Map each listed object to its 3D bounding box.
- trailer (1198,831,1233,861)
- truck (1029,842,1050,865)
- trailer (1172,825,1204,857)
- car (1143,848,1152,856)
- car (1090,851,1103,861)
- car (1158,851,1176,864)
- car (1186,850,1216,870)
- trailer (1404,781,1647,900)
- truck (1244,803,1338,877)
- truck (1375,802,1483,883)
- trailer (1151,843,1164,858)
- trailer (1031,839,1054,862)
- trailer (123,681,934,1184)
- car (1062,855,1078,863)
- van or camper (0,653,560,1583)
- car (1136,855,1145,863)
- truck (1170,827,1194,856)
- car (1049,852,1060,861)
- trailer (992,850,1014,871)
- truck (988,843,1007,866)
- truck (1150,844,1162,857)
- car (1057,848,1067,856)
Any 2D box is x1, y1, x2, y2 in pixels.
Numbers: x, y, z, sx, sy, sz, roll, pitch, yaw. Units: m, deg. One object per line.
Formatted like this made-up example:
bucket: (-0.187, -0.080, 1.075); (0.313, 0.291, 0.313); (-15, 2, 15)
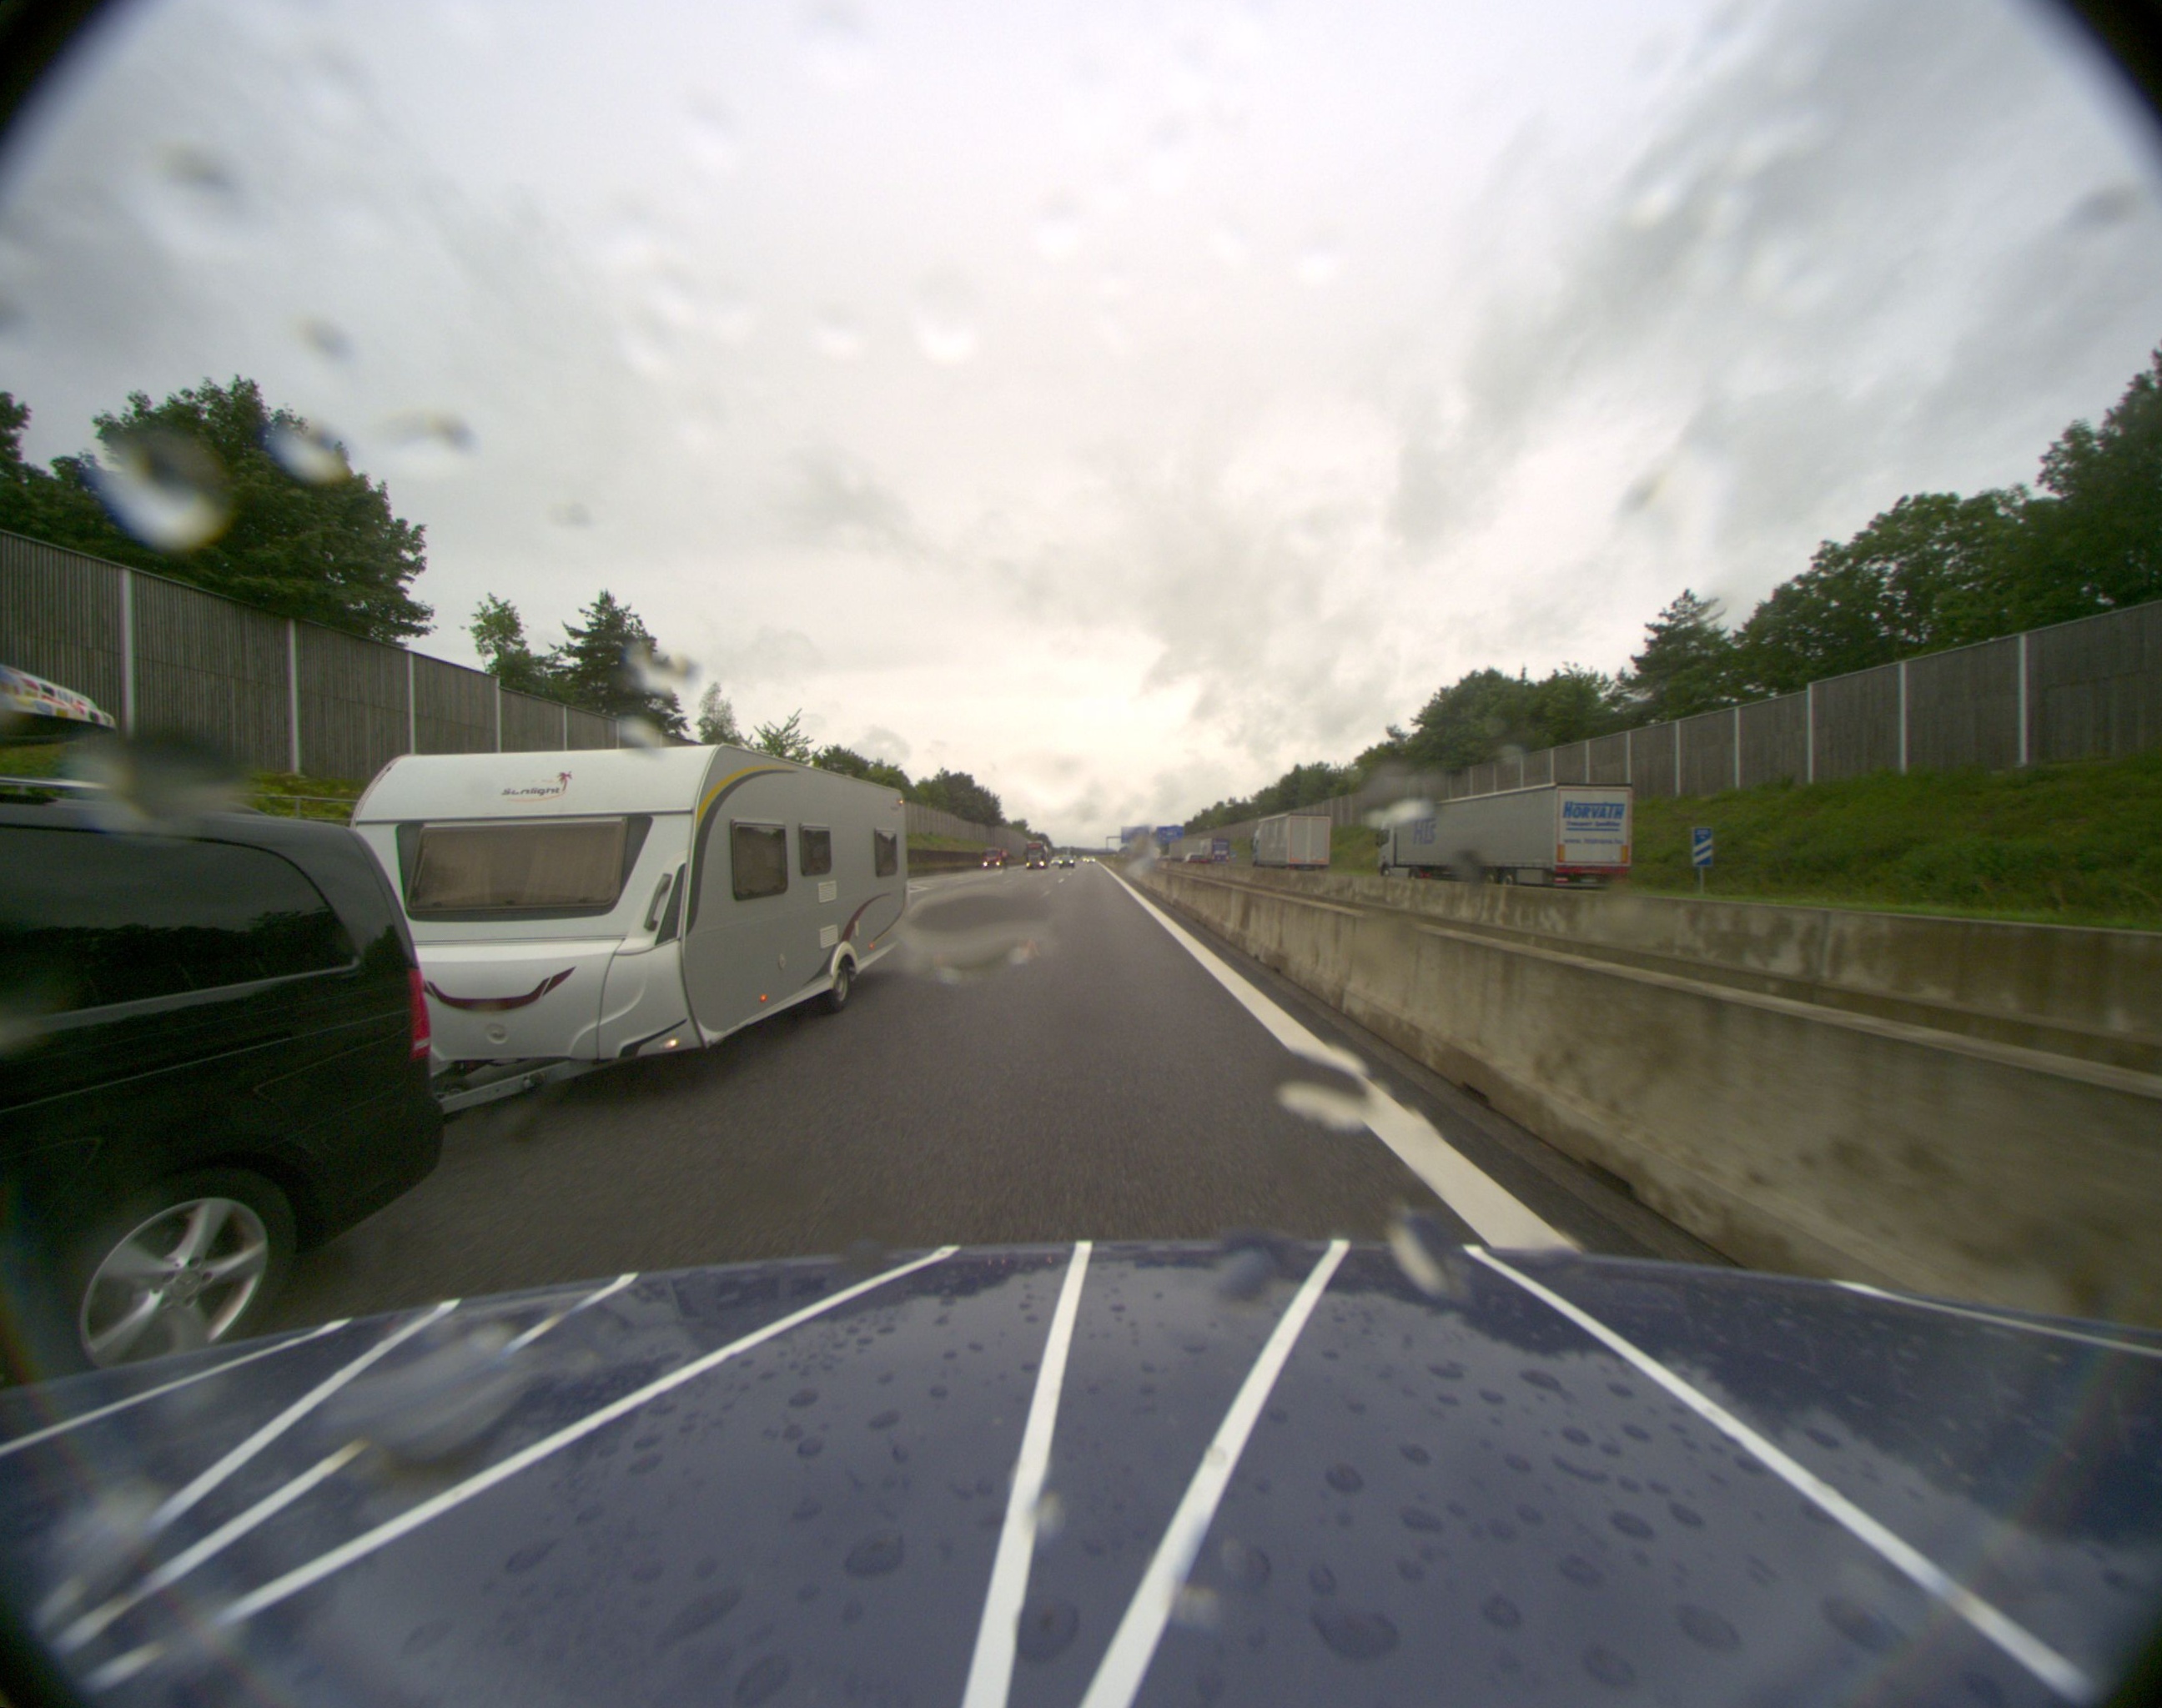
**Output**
trailer: (20.261, -1.255, 115.447); (3.097, 4.300, 14.337); (-1, 1, 1)
truck: (-5.809, -0.096, 107.259); (2.617, 3.218, 4.632); (-1, 0, 1)
trailer: (15.556, -1.809, 111.668); (2.786, 4.300, 14.022); (-3, 1, 1)
car: (23.008, -0.669, 262.380); (2.369, 2.953, 6.688); (-1, 0, 1)
car: (3.594, 0.400, 174.315); (2.680, 2.340, 5.807); (-1, 0, -1)
car: (11.961, 0.468, 105.957); (1.977, 1.679, 4.357); (-1, 0, 1)
car: (10.996, 0.555, 70.021); (1.998, 1.726, 5.002); (-1, 0, 1)
trailer: (17.418, -0.459, 31.442); (2.911, 3.913, 12.443); (-1, 0, 1)
truck: (14.059, -0.909, 52.302); (3.159, 4.300, 12.679); (-3, 1, 1)
truck: (17.613, -0.569, 38.862); (2.896, 3.774, 5.889); (-1, 0, 1)
trailer: (21.182, -1.072, 210.628); (2.718, 3.901, 10.644); (2, 1, 1)
trailer: (-5.717, -0.502, 114.236); (2.600, 3.228, 9.915); (-1, 0, 1)
trailer: (-3.733, 0.429, 7.895); (2.728, 2.627, 7.511); (-3, 0, 1)
car: (-1.488, 0.687, 104.598); (2.061, 1.020, 3.438); (-3, 1, 1)
van or camper: (-3.603, 0.668, 0.909); (1.895, 2.256, 5.679); (-2, 1, 1)
car: (14.469, 1.225, 185.309); (1.998, 2.002, 4.769); (-1, 0, 1)
truck: (15.659, -1.881, 118.014); (2.786, 4.300, 6.097); (-3, 1, 1)
car: (-5.057, 0.533, 147.246); (1.916, 1.630, 4.000); (-3, 1, 1)
trailer: (-12.568, 1.033, 122.971); (2.452, 3.228, 9.401); (-1, 0, 1)
truck: (-12.782, 0.066, 117.124); (2.421, 3.445, 4.000); (-1, 0, 0)
truck: (21.258, -0.937, 216.204); (2.707, 3.537, 5.857); (2, 1, 1)
car: (-4.329, -0.388, 175.461); (1.998, 1.747, 4.000); (-2, 0, 1)
